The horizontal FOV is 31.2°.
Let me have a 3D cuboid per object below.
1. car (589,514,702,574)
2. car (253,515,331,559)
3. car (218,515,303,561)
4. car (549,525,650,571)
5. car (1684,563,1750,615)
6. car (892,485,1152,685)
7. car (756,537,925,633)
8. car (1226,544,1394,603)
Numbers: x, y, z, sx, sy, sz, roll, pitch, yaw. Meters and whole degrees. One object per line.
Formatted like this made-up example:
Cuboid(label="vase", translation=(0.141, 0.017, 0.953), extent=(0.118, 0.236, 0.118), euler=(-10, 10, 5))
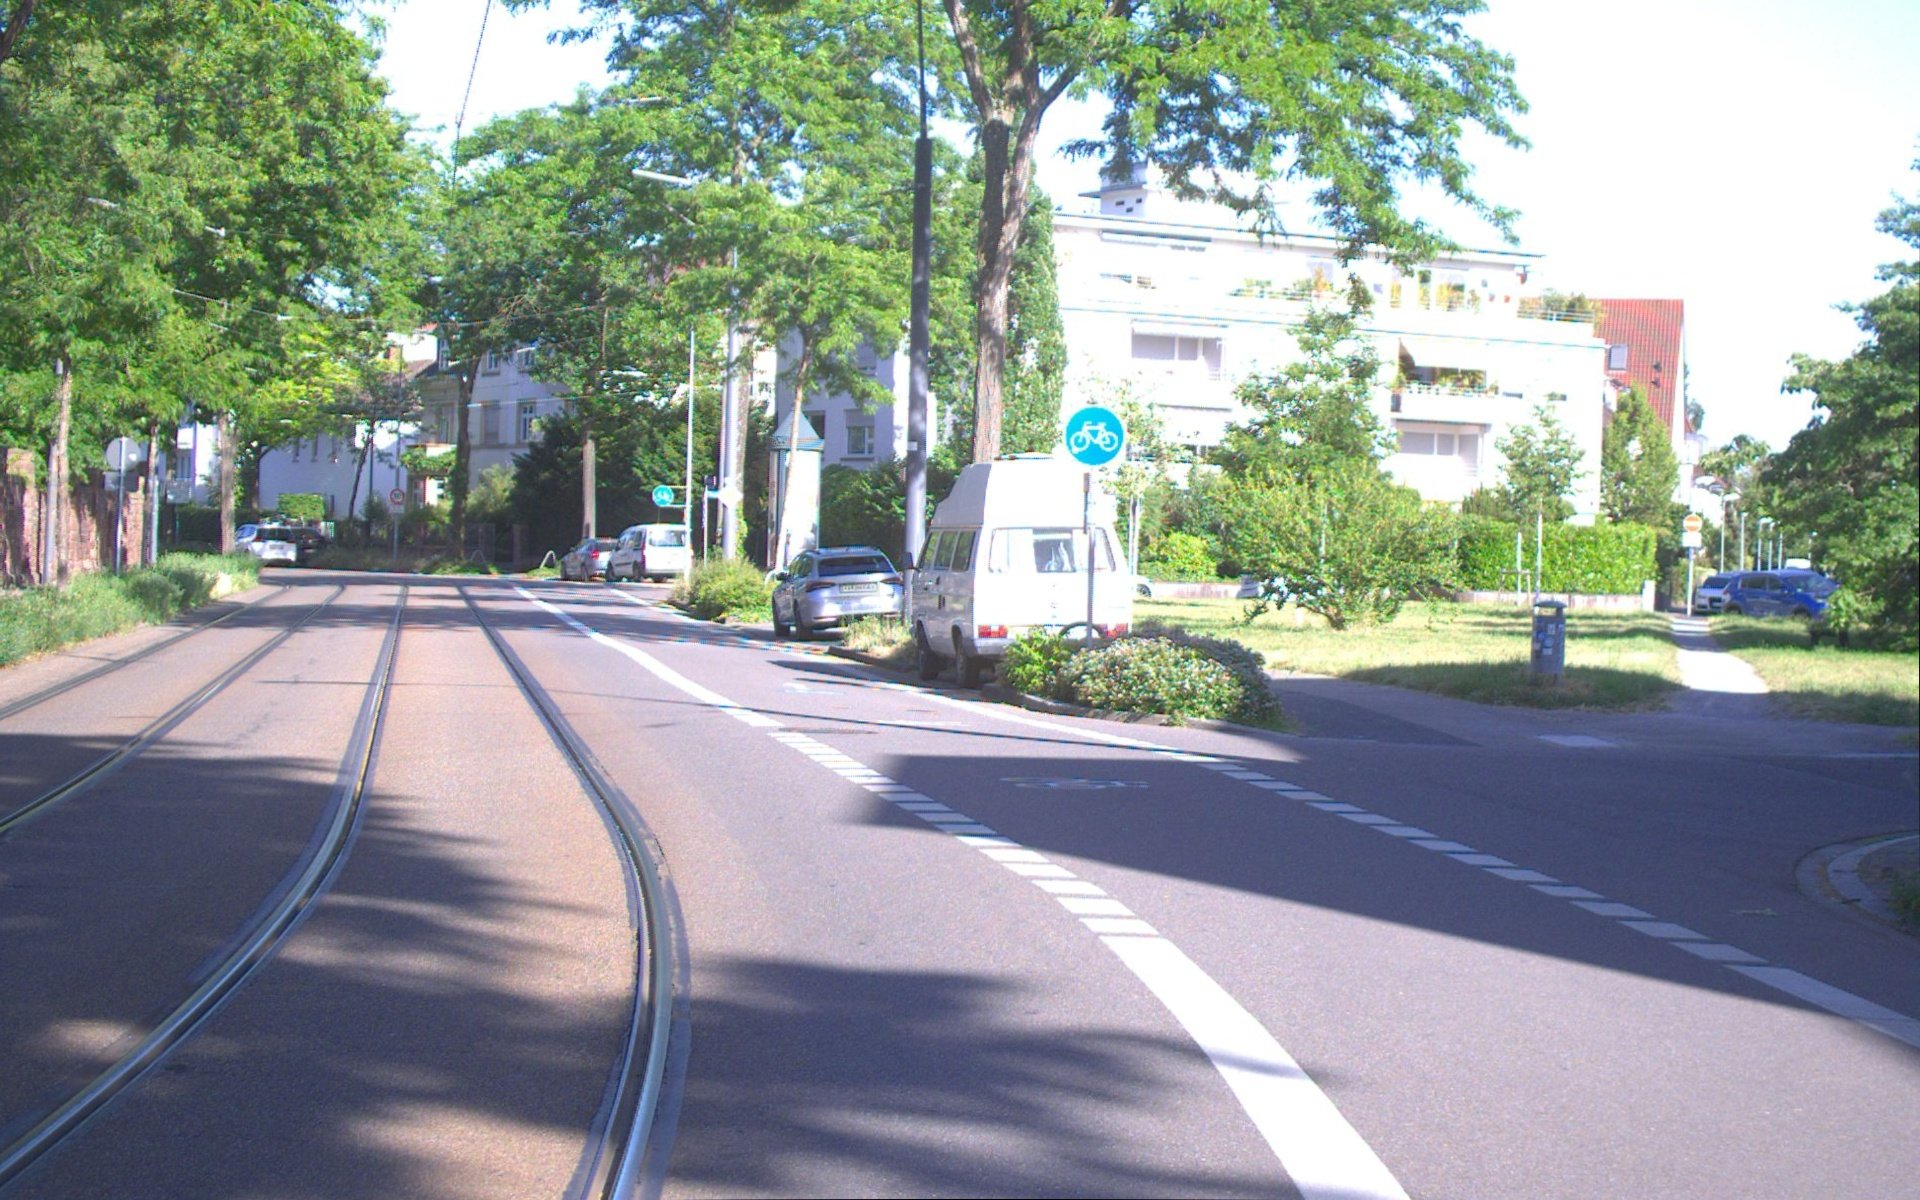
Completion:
Cuboid(label="car", translation=(-9.796, -1.762, 106.838), extent=(2.022, 1.741, 4.753), euler=(1, 1, -24))
Cuboid(label="car", translation=(-27.712, -2.624, 142.495), extent=(1.804, 1.688, 4.730), euler=(-3, 3, -28))
Cuboid(label="car", translation=(-26.650, -2.353, 130.908), extent=(1.892, 1.605, 4.229), euler=(1, -1, -30))
Cuboid(label="car", translation=(-11.813, -1.704, 112.502), extent=(1.993, 1.418, 4.333), euler=(1, 1, -25))
Cuboid(label="car", translation=(26.287, -0.399, 119.310), extent=(2.046, 1.702, 4.285), euler=(2, 1, 14))
Cuboid(label="car", translation=(0.626, -0.214, 38.930), extent=(1.993, 2.088, 4.718), euler=(1, 1, -11))
Cuboid(label="car", translation=(-2.038, -0.288, 57.068), extent=(2.000, 1.460, 5.435), euler=(-2, 1, -10))
Cuboid(label="car", translation=(9.798, -0.731, 96.191), extent=(4.279, 1.505, 1.840), euler=(1, -2, -20))
